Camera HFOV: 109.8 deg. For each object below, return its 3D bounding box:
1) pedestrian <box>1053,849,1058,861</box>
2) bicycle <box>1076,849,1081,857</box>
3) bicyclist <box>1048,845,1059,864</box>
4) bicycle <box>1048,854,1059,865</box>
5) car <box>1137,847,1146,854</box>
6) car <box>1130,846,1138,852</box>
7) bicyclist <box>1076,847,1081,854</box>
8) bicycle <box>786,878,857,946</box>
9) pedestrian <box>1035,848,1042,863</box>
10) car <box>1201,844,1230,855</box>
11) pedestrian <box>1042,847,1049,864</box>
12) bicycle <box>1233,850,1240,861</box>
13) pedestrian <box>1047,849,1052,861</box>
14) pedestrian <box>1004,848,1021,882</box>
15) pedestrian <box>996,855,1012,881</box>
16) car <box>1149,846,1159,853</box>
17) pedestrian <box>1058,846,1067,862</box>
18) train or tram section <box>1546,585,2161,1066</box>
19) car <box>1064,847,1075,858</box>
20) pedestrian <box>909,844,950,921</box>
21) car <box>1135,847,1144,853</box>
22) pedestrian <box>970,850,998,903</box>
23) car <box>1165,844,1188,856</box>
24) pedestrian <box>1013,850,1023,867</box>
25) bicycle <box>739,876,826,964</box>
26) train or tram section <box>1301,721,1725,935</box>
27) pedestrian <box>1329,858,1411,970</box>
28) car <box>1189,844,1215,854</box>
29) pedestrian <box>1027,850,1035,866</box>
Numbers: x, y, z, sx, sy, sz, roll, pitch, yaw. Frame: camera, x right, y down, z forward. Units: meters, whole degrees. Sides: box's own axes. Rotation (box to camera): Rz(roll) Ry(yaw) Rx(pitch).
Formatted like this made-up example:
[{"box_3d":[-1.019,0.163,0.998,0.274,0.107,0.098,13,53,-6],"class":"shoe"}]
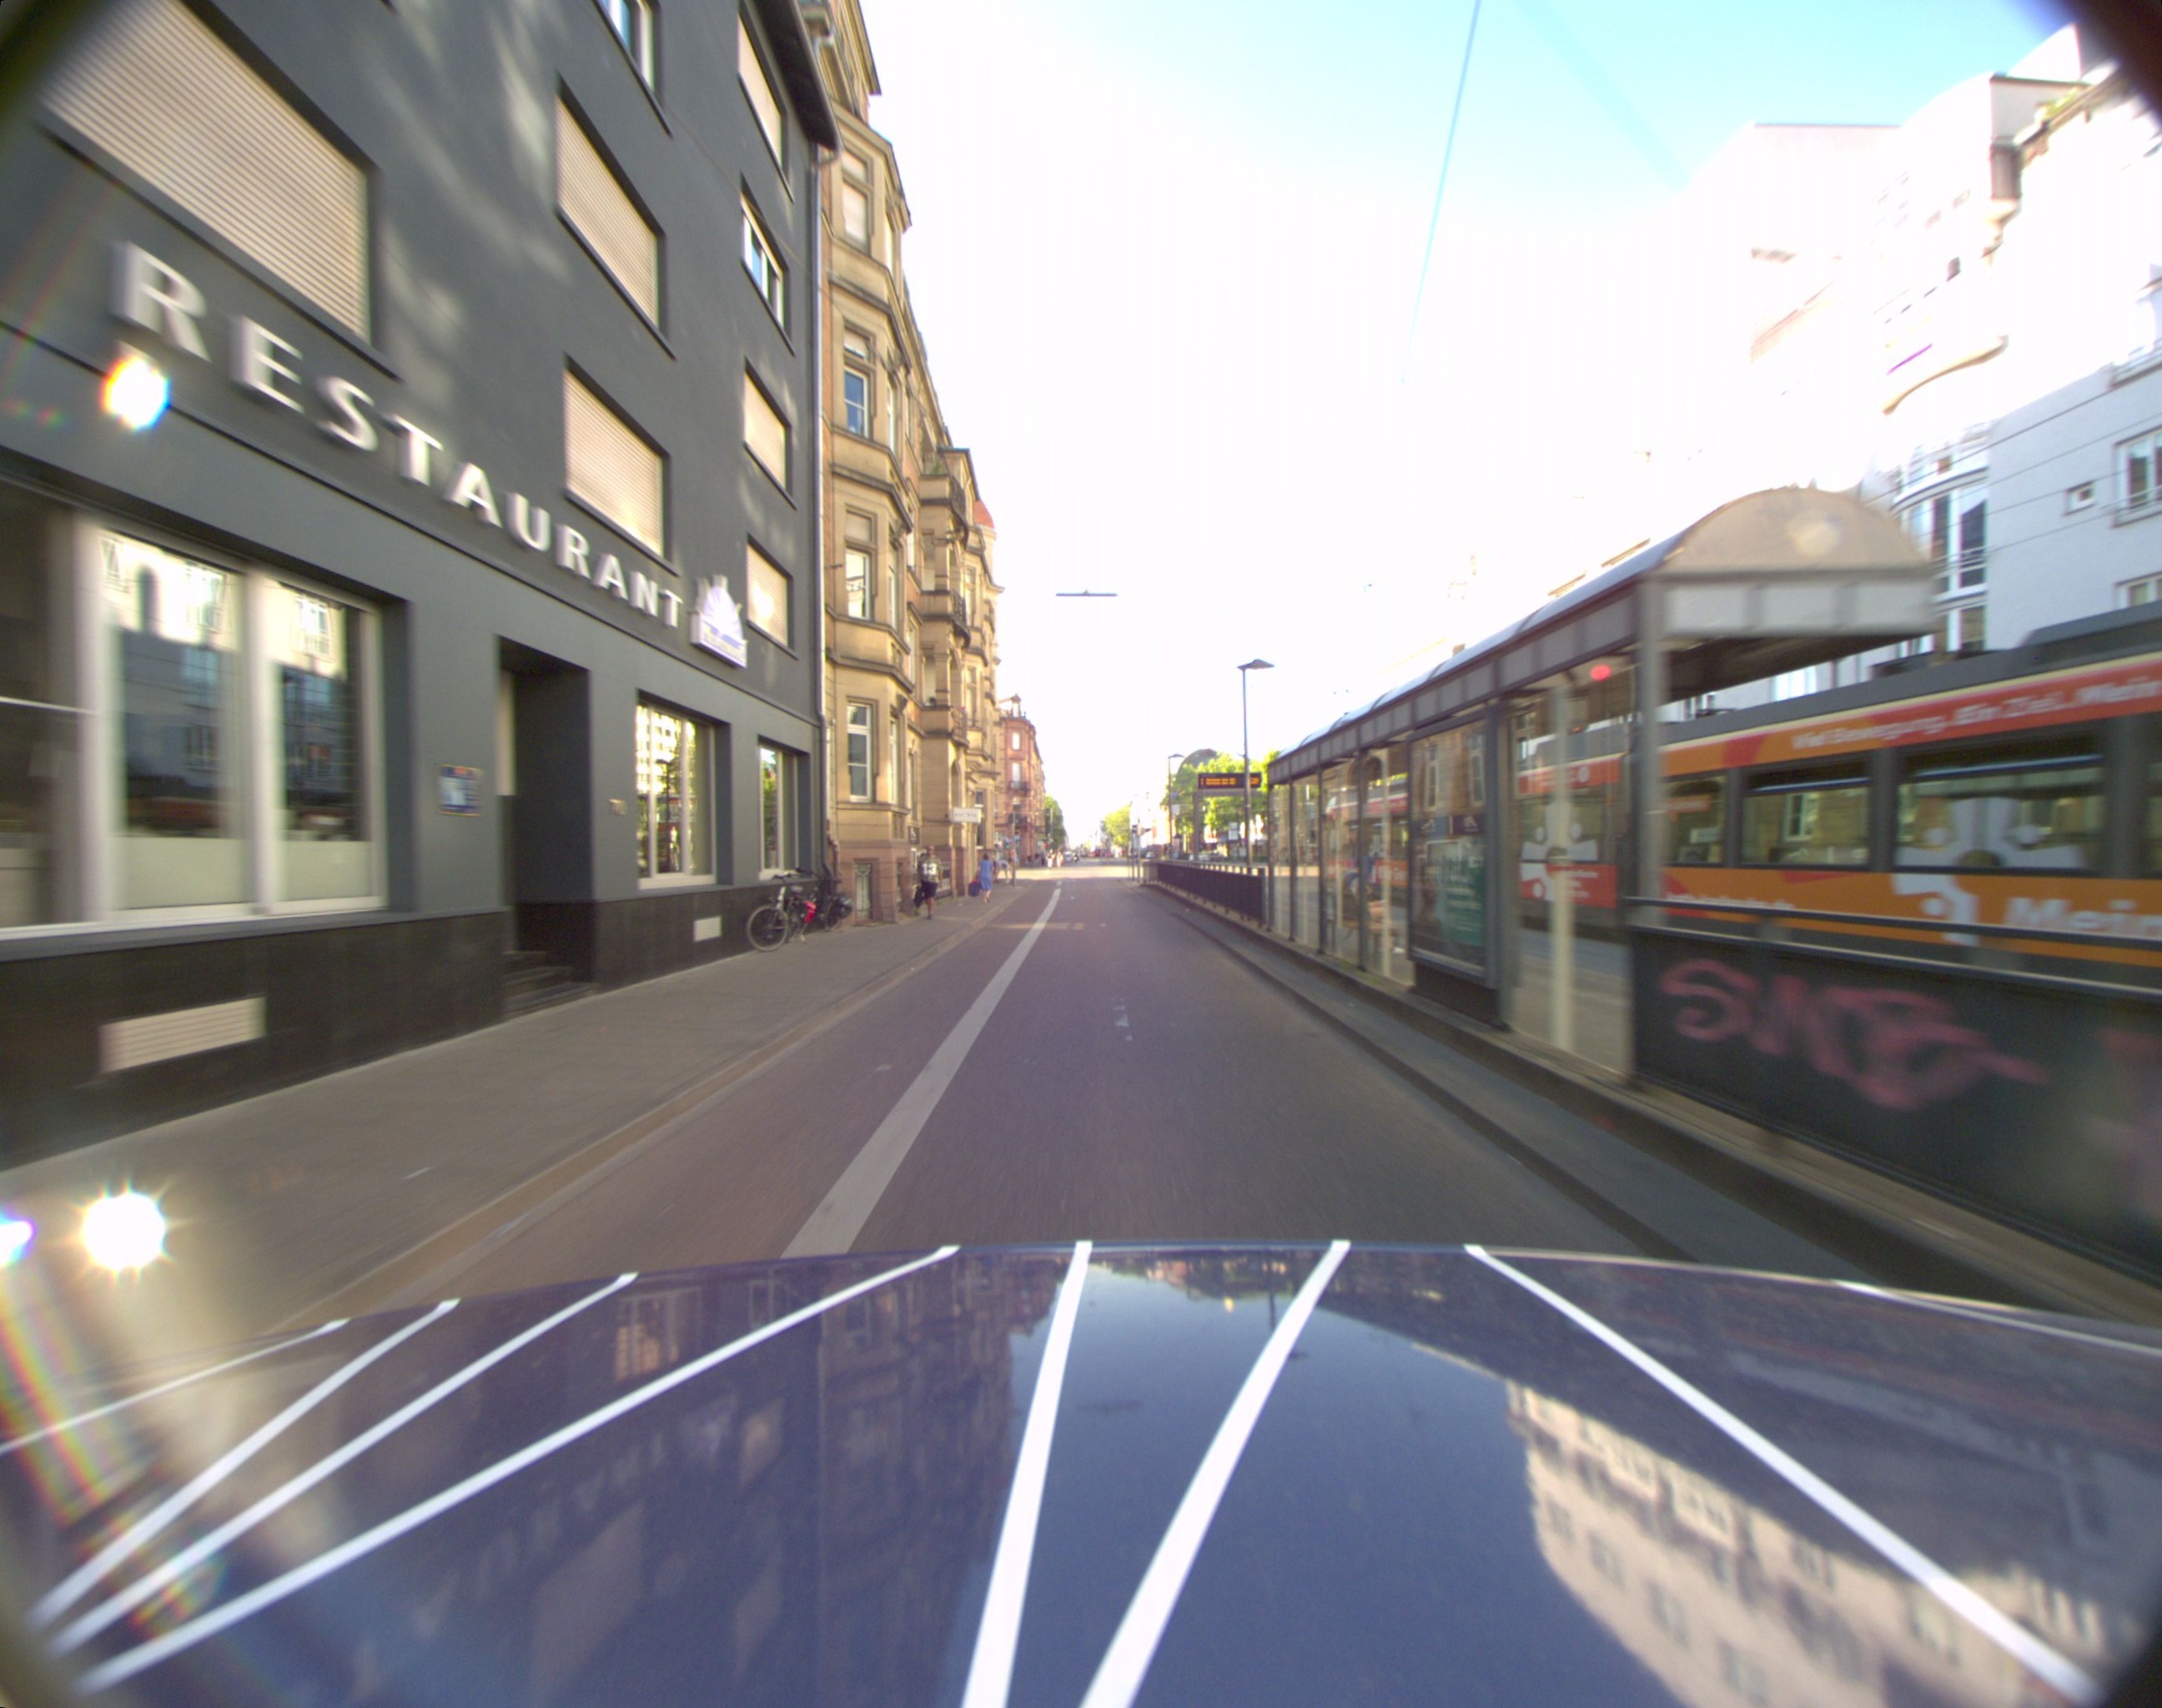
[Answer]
[{"box_3d":[-3.872,0.141,113.803,0.701,1.713,0.502,1,1,1],"class":"pedestrian"},{"box_3d":[-0.457,-0.164,126.459,0.646,1.176,1.804,-1,1,-3],"class":"bicycle"},{"box_3d":[-2.449,0.067,68.335,0.886,1.651,0.803,-1,1,3],"class":"bicyclist"},{"box_3d":[-2.454,0.503,68.336,0.886,0.949,1.766,-1,1,3],"class":"bicycle"},{"box_3d":[16.657,-0.964,209.142,1.965,1.594,3.998,-2,1,-2],"class":"car"},{"box_3d":[16.401,-1.536,234.669,1.965,1.594,3.998,-2,1,-2],"class":"car"},{"box_3d":[-0.404,-0.558,126.487,0.646,1.176,0.722,-1,1,-3],"class":"bicyclist"},{"box_3d":[-4.667,1.016,13.795,0.592,1.064,1.804,2,0,2],"class":"bicycle"},{"box_3d":[-4.999,0.209,89.118,0.777,1.713,0.754,0,1,0],"class":"pedestrian"},{"box_3d":[20.216,-0.716,114.249,4.006,1.545,1.793,-3,2,-32],"class":"car"},{"box_3d":[-4.164,0.177,88.525,0.824,1.883,0.754,0,1,0],"class":"pedestrian"},{"box_3d":[18.373,0.151,89.659,0.582,1.227,1.857,-2,1,5],"class":"bicycle"},{"box_3d":[-4.707,0.176,114.100,0.701,1.713,0.681,1,1,1],"class":"pedestrian"},{"box_3d":[-3.489,0.556,38.810,0.796,1.712,0.719,0,2,-2],"class":"pedestrian"},{"box_3d":[-4.004,0.702,39.559,0.796,1.324,0.719,0,2,-2],"class":"pedestrian"},{"box_3d":[17.504,-1.146,181.848,1.910,1.594,3.998,-2,1,-2],"class":"car"},{"box_3d":[-1.884,-0.024,78.952,0.849,1.652,0.850,-1,1,3],"class":"pedestrian"},{"box_3d":[9.229,-0.233,5.240,2.892,3.470,14.946,-2,1,0],"class":"train or tram section"},{"box_3d":[-1.932,-0.267,130.285,1.670,1.674,4.000,-1,1,3],"class":"car"},{"box_3d":[-3.618,0.666,18.220,0.803,1.813,0.797,1,1,-1],"class":"pedestrian"},{"box_3d":[16.603,-1.267,215.475,1.965,1.594,3.998,-2,1,-2],"class":"car"},{"box_3d":[-3.049,0.696,23.858,0.764,1.636,0.832,1,1,-1],"class":"pedestrian"},{"box_3d":[18.010,-0.782,143.915,4.006,1.953,1.907,-3,2,-35],"class":"car"},{"box_3d":[-6.723,0.507,81.427,1.026,1.796,1.082,-1,1,-3],"class":"pedestrian"},{"box_3d":[-4.615,0.974,11.899,0.625,1.191,1.907,2,0,-2],"class":"bicycle"},{"box_3d":[9.277,-0.566,19.761,2.892,3.470,14.163,-2,1,0],"class":"train or tram section"},{"box_3d":[3.150,0.639,8.314,0.686,1.169,0.536,-1,1,1],"class":"pedestrian"},{"box_3d":[19.938,-0.763,124.970,4.006,1.466,1.793,-3,2,-32],"class":"car"},{"box_3d":[-5.423,0.393,82.022,0.777,1.713,0.754,0,1,0],"class":"pedestrian"}]
